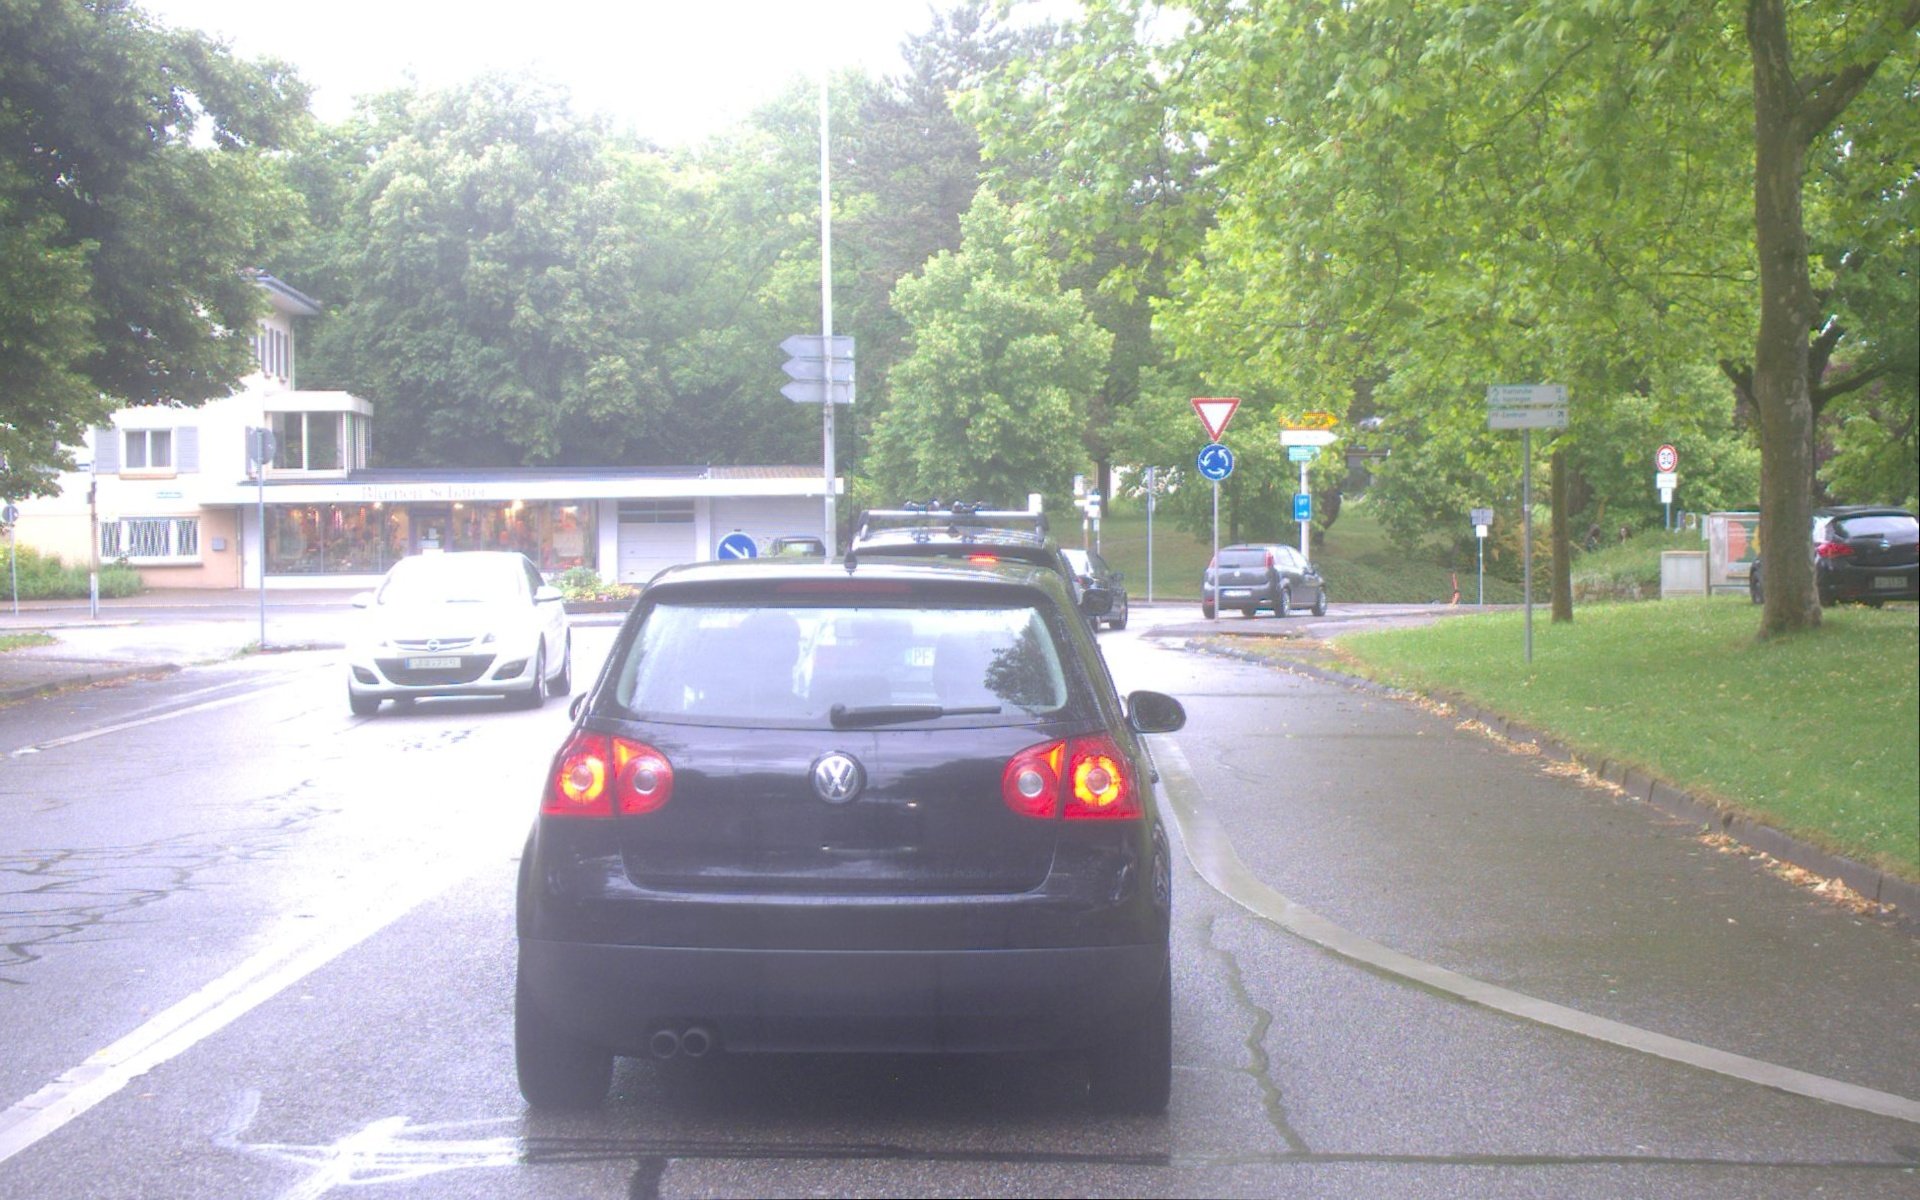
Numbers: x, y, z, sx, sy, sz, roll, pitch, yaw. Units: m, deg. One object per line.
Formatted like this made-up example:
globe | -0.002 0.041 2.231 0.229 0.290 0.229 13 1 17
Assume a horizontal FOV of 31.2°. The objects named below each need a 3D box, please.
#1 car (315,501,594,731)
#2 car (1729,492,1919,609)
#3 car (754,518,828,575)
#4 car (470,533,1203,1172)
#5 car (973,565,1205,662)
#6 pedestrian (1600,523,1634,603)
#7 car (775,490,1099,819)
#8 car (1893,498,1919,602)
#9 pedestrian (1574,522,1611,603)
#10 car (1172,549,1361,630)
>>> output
car | -4.728 0.119 32.775 1.993 2.007 4.574 1 1 0
car | 11.976 -0.675 47.052 1.764 1.466 4.598 -2 1 -1
car | -4.722 -1.497 95.646 1.812 1.481 3.832 -2 1 -6
car | -0.326 0.597 10.386 1.764 1.533 4.000 1 1 -1
car | 2.187 0.212 57.242 1.997 1.525 3.992 1 1 35
pedestrian | 14.053 -0.792 73.519 0.634 1.707 0.529 1 0 17
car | -0.156 0.286 21.347 1.764 1.795 4.246 -1 1 -1
car | 14.433 -0.717 47.297 1.845 1.466 4.426 -2 1 -2
pedestrian | 13.365 -0.791 72.704 0.528 1.707 0.636 1 0 -14
car | 6.114 -0.209 68.282 1.997 1.525 3.992 1 1 35
